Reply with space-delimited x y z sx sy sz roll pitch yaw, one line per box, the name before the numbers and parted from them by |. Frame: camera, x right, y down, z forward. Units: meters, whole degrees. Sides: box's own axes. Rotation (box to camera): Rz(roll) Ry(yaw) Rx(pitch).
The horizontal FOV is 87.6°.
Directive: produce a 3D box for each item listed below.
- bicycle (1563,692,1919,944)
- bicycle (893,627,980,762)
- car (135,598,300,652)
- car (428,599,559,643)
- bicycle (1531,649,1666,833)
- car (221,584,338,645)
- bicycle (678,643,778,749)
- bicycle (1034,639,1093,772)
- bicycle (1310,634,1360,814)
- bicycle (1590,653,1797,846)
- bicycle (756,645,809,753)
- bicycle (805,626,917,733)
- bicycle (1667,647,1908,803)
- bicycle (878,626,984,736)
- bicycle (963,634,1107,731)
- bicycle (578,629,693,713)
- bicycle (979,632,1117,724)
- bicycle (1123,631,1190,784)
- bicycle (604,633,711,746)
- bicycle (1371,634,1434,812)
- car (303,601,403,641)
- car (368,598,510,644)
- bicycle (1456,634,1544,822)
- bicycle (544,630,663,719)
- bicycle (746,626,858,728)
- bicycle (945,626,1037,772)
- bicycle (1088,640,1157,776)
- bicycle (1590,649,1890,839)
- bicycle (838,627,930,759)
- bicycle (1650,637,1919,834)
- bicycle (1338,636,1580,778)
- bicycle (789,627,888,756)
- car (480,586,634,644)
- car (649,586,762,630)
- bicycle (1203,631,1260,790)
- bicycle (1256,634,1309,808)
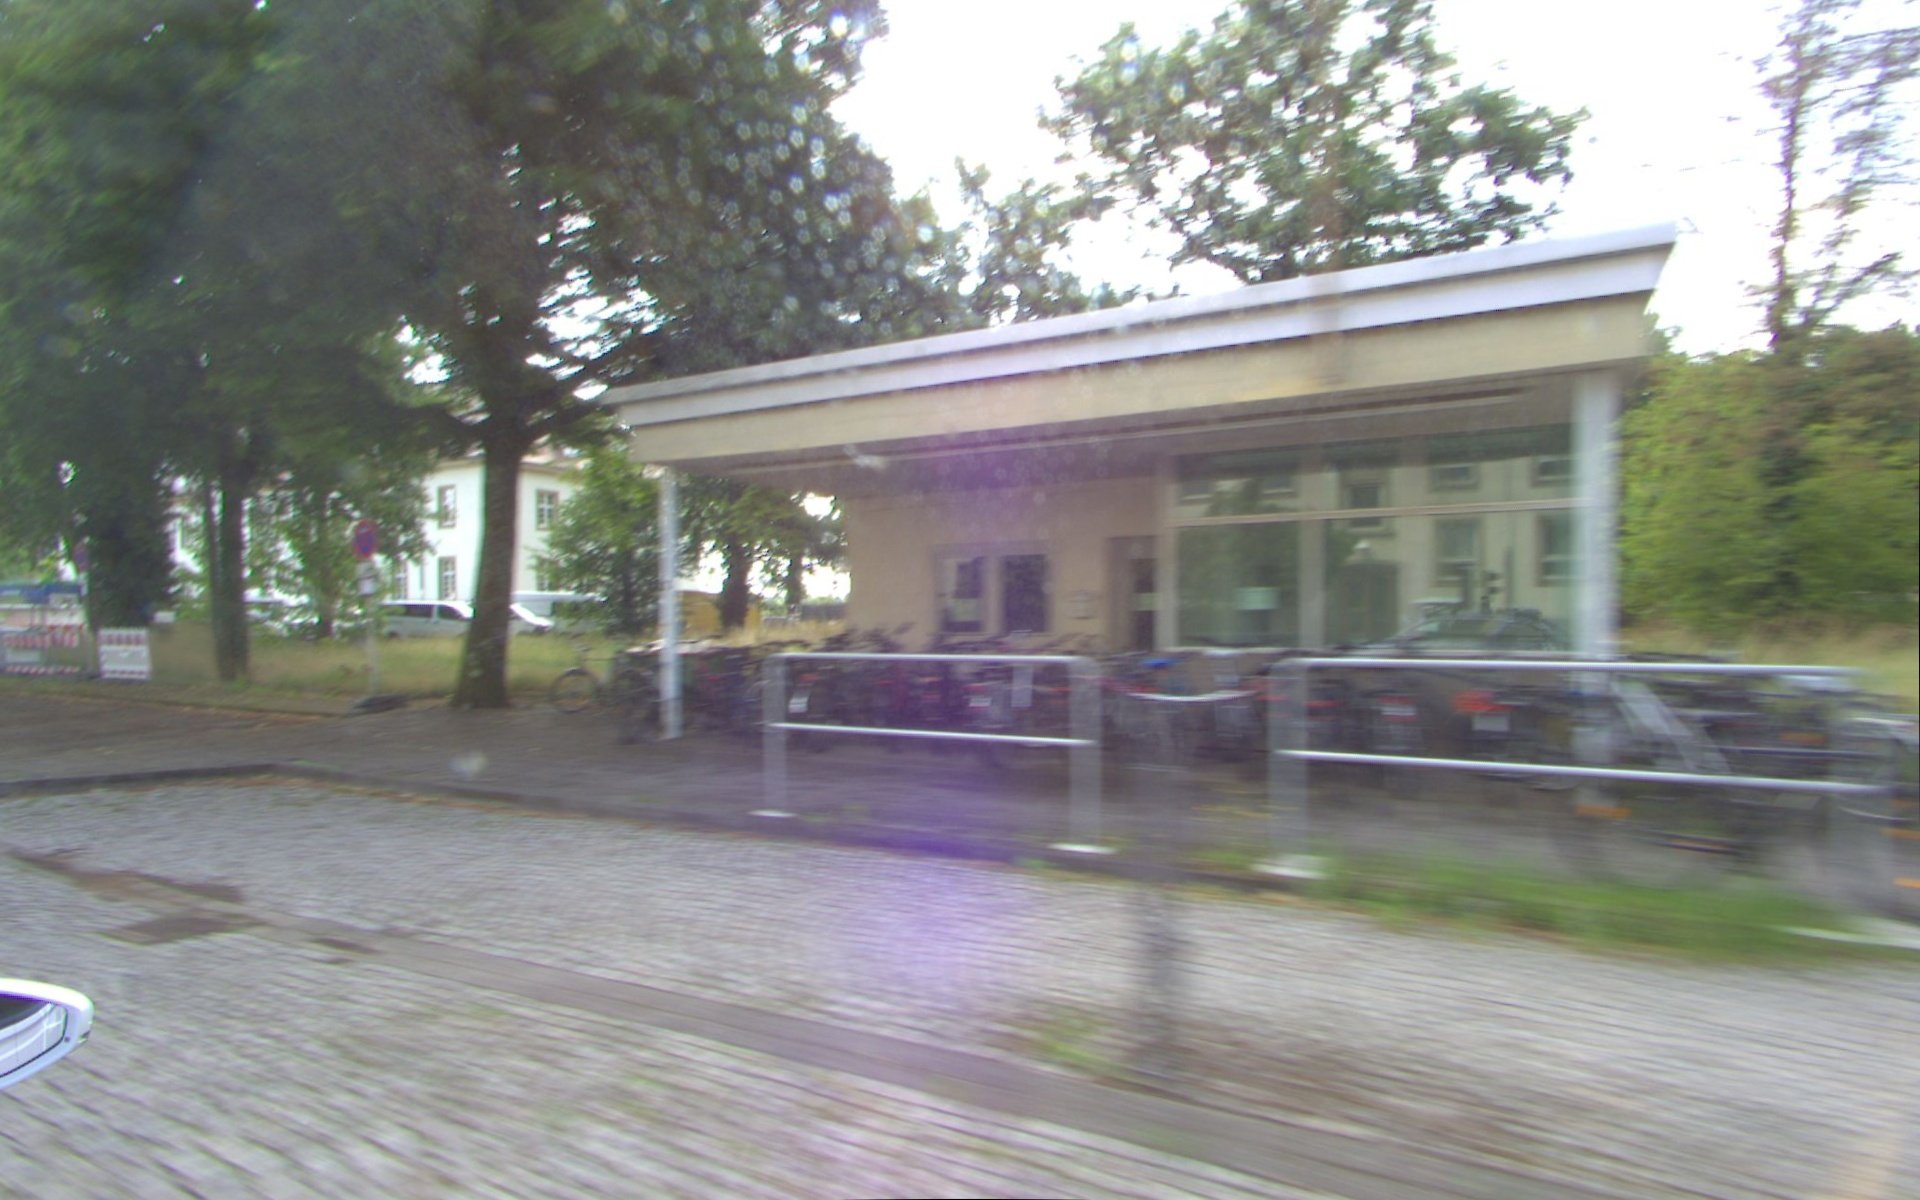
bicycle | 3.694 0.932 4.515 1.630 0.965 0.534 -1 0 29
bicycle | -0.206 0.908 10.191 0.412 1.206 1.632 0 1 16
car | -28.787 0.955 39.000 1.877 1.946 4.854 1 0 29
car | -20.323 0.930 43.770 4.779 1.848 2.001 0 -2 1
bicycle | 4.181 0.876 6.616 0.281 1.076 1.153 0 -1 7
car | -30.428 0.705 44.738 5.822 2.588 1.991 -1 -2 30
bicycle | -2.553 1.027 11.198 0.744 0.989 1.745 -1 1 -2
bicycle | 0.998 0.937 9.412 0.328 1.064 1.633 0 1 13
bicycle | 2.868 0.877 7.665 0.320 1.156 1.614 0 1 20
bicycle | 4.642 0.893 6.437 0.332 1.059 1.406 0 -1 2
bicycle | -1.882 1.022 10.769 0.316 0.989 1.634 -1 1 -2
bicycle | -1.202 0.946 12.523 0.598 1.181 1.740 0 1 24
bicycle | 6.166 0.890 7.519 0.401 1.023 1.346 0 0 -38
bicycle | -0.321 0.937 12.253 0.598 1.181 1.740 0 1 24
bicycle | 0.896 0.967 12.015 1.651 1.090 0.479 0 1 17
bicycle | -4.681 1.000 14.439 1.609 1.132 0.596 0 1 27
bicycle | 1.101 0.961 12.551 1.651 1.090 0.479 0 1 17
bicycle | 1.754 0.885 8.822 0.320 1.156 1.592 0 1 20
bicycle | -3.417 0.973 11.441 0.332 1.123 1.679 0 1 14
bicycle | 3.399 0.882 7.749 0.350 1.156 1.614 0 1 20
car | -28.801 1.029 47.457 4.802 1.848 1.992 -1 -2 30
car | -21.348 0.872 41.190 4.779 1.848 2.001 0 -2 1
bicycle | 3.951 0.869 7.389 0.350 1.156 1.614 0 1 20
bicycle | -4.947 1.005 13.869 1.609 1.132 0.596 0 1 27
bicycle | -2.030 0.967 13.123 0.598 1.181 1.740 0 1 24
bicycle | 0.330 0.882 9.509 0.490 1.206 1.632 0 1 16
bicycle | 1.519 0.940 9.218 0.320 1.064 1.592 0 1 20
bicycle | 5.148 0.891 6.769 0.446 1.059 1.749 0 -1 -10
bicycle | -0.760 0.916 10.433 0.412 1.206 1.632 0 1 16
bicycle | 5.709 0.839 6.848 0.466 1.146 1.738 0 -1 -15
bicycle | 4.213 0.871 8.562 1.803 1.090 0.489 0 1 27
bicycle | -1.260 0.917 10.650 0.465 1.206 1.633 0 1 14
car | -18.684 0.738 46.621 6.297 2.610 2.001 0 -2 -1
car | -13.260 0.505 52.667 2.179 2.122 6.138 -1 -2 29
bicycle | 2.319 0.872 8.476 0.320 1.156 1.614 0 1 20
bicycle | 2.560 0.886 7.894 0.320 1.156 1.614 0 1 20
